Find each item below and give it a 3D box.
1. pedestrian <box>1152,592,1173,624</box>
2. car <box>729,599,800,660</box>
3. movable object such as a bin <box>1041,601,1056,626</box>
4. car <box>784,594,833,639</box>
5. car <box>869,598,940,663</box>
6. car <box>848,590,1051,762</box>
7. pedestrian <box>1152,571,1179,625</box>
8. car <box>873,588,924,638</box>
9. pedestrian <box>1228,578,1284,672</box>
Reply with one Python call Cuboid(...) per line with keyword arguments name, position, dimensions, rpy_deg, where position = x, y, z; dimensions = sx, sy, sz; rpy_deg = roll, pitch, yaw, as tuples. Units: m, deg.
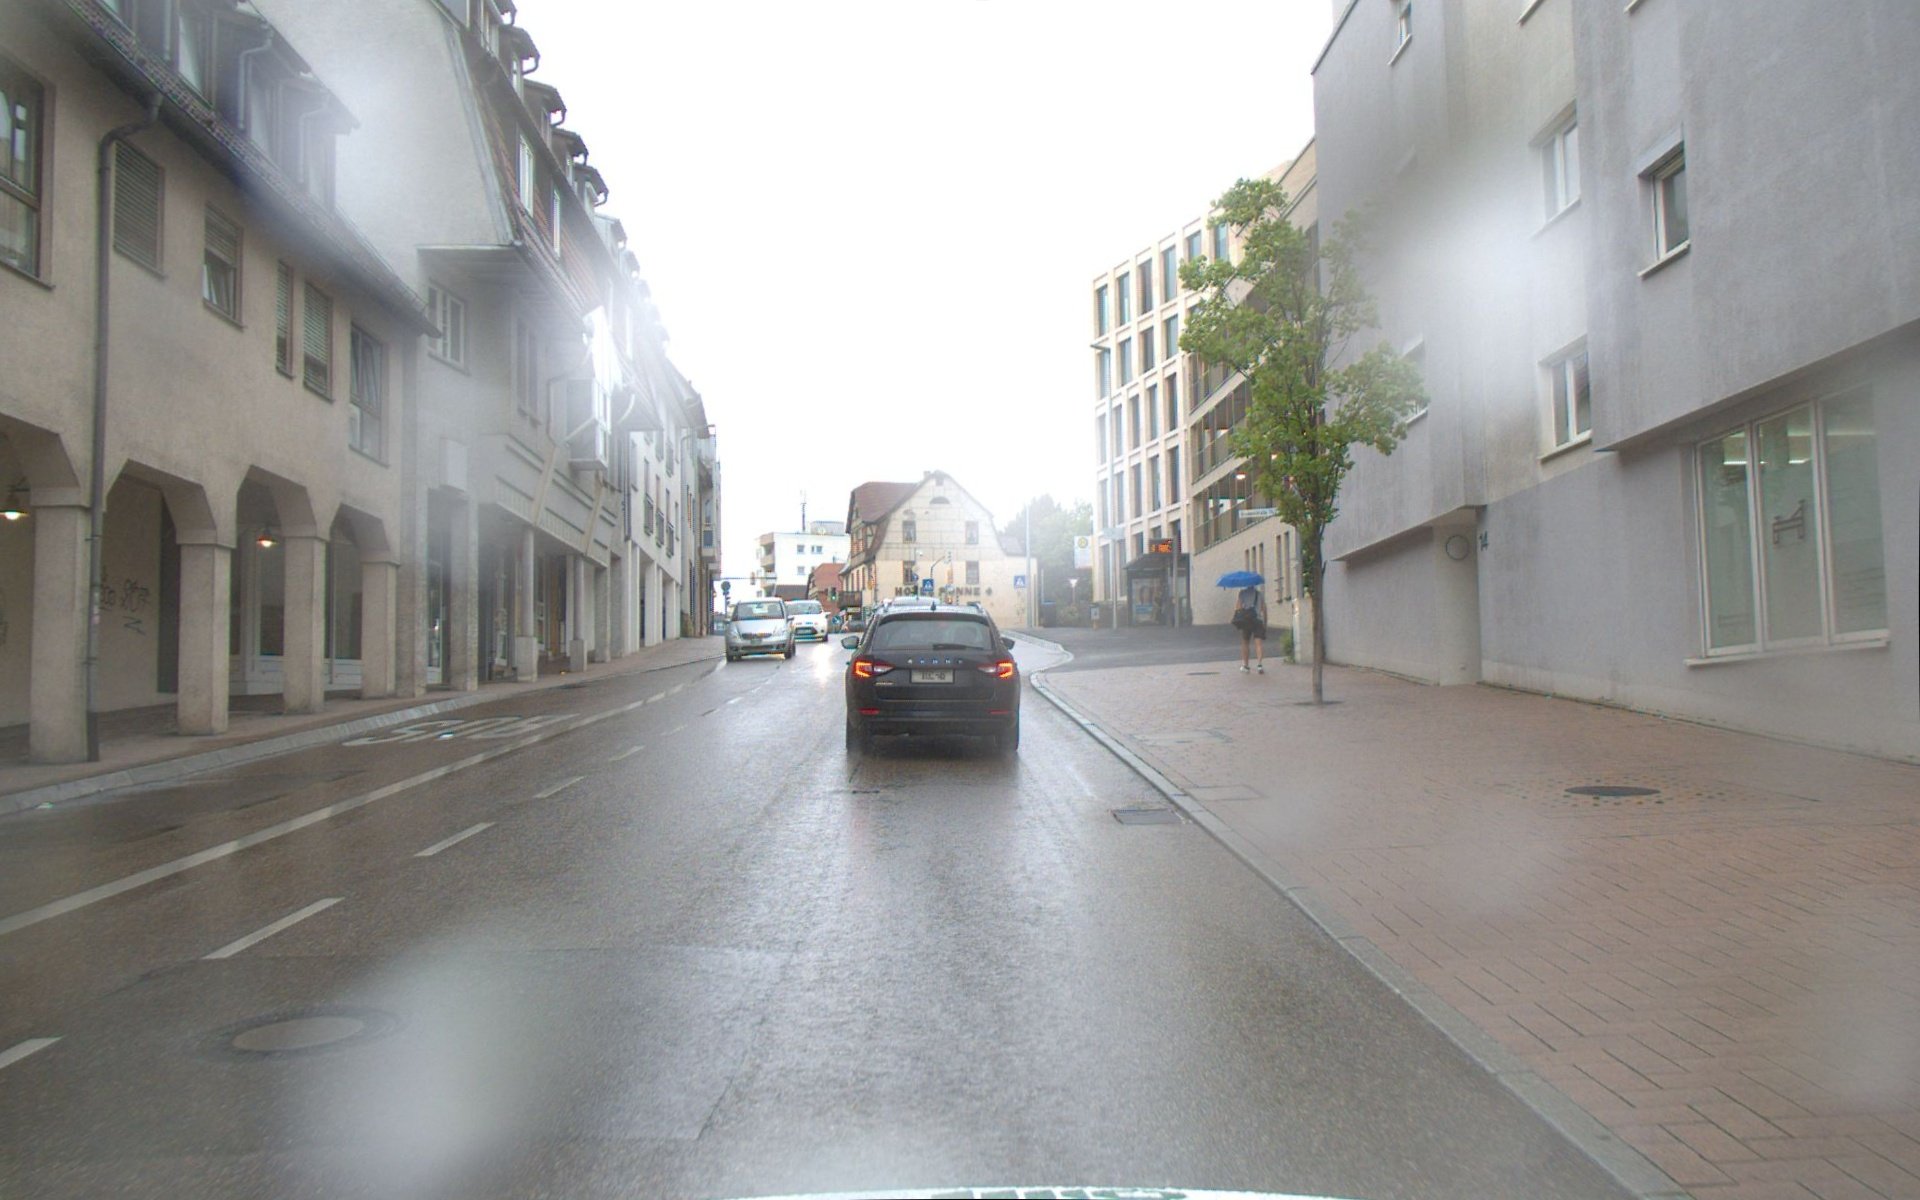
Cuboid(name="pedestrian", position=(7.648, 0.309, 62.601), dimensions=(0.658, 1.182, 0.635), rpy_deg=(-3, 0, -2))
Cuboid(name="car", position=(-5.266, 0.768, 44.893), dimensions=(1.643, 1.536, 3.587), rpy_deg=(-1, 0, -3))
Cuboid(name="movable object such as a bin", position=(3.949, 0.616, 73.556), dimensions=(0.583, 1.081, 0.578), rpy_deg=(-2, 0, -2))
Cuboid(name="car", position=(-5.383, 0.568, 59.096), dimensions=(1.644, 1.536, 3.586), rpy_deg=(-1, 0, -4))
Cuboid(name="car", position=(-1.434, 0.743, 41.634), dimensions=(1.644, 1.536, 3.586), rpy_deg=(-1, 0, -4))
Cuboid(name="car", position=(-0.164, 0.725, 17.902), dimensions=(1.905, 1.594, 4.415), rpy_deg=(-1, 0, -2))
Cuboid(name="pedestrian", position=(7.598, -0.076, 61.304), dimensions=(0.766, 1.974, 1.021), rpy_deg=(-3, 0, -1))
Cuboid(name="car", position=(-2.077, 0.417, 56.297), dimensions=(1.647, 1.587, 3.998), rpy_deg=(-2, 0, -2))
Cuboid(name="pedestrian", position=(5.212, 0.435, 29.196), dimensions=(0.721, 1.569, 1.038), rpy_deg=(-4, 0, 1))
